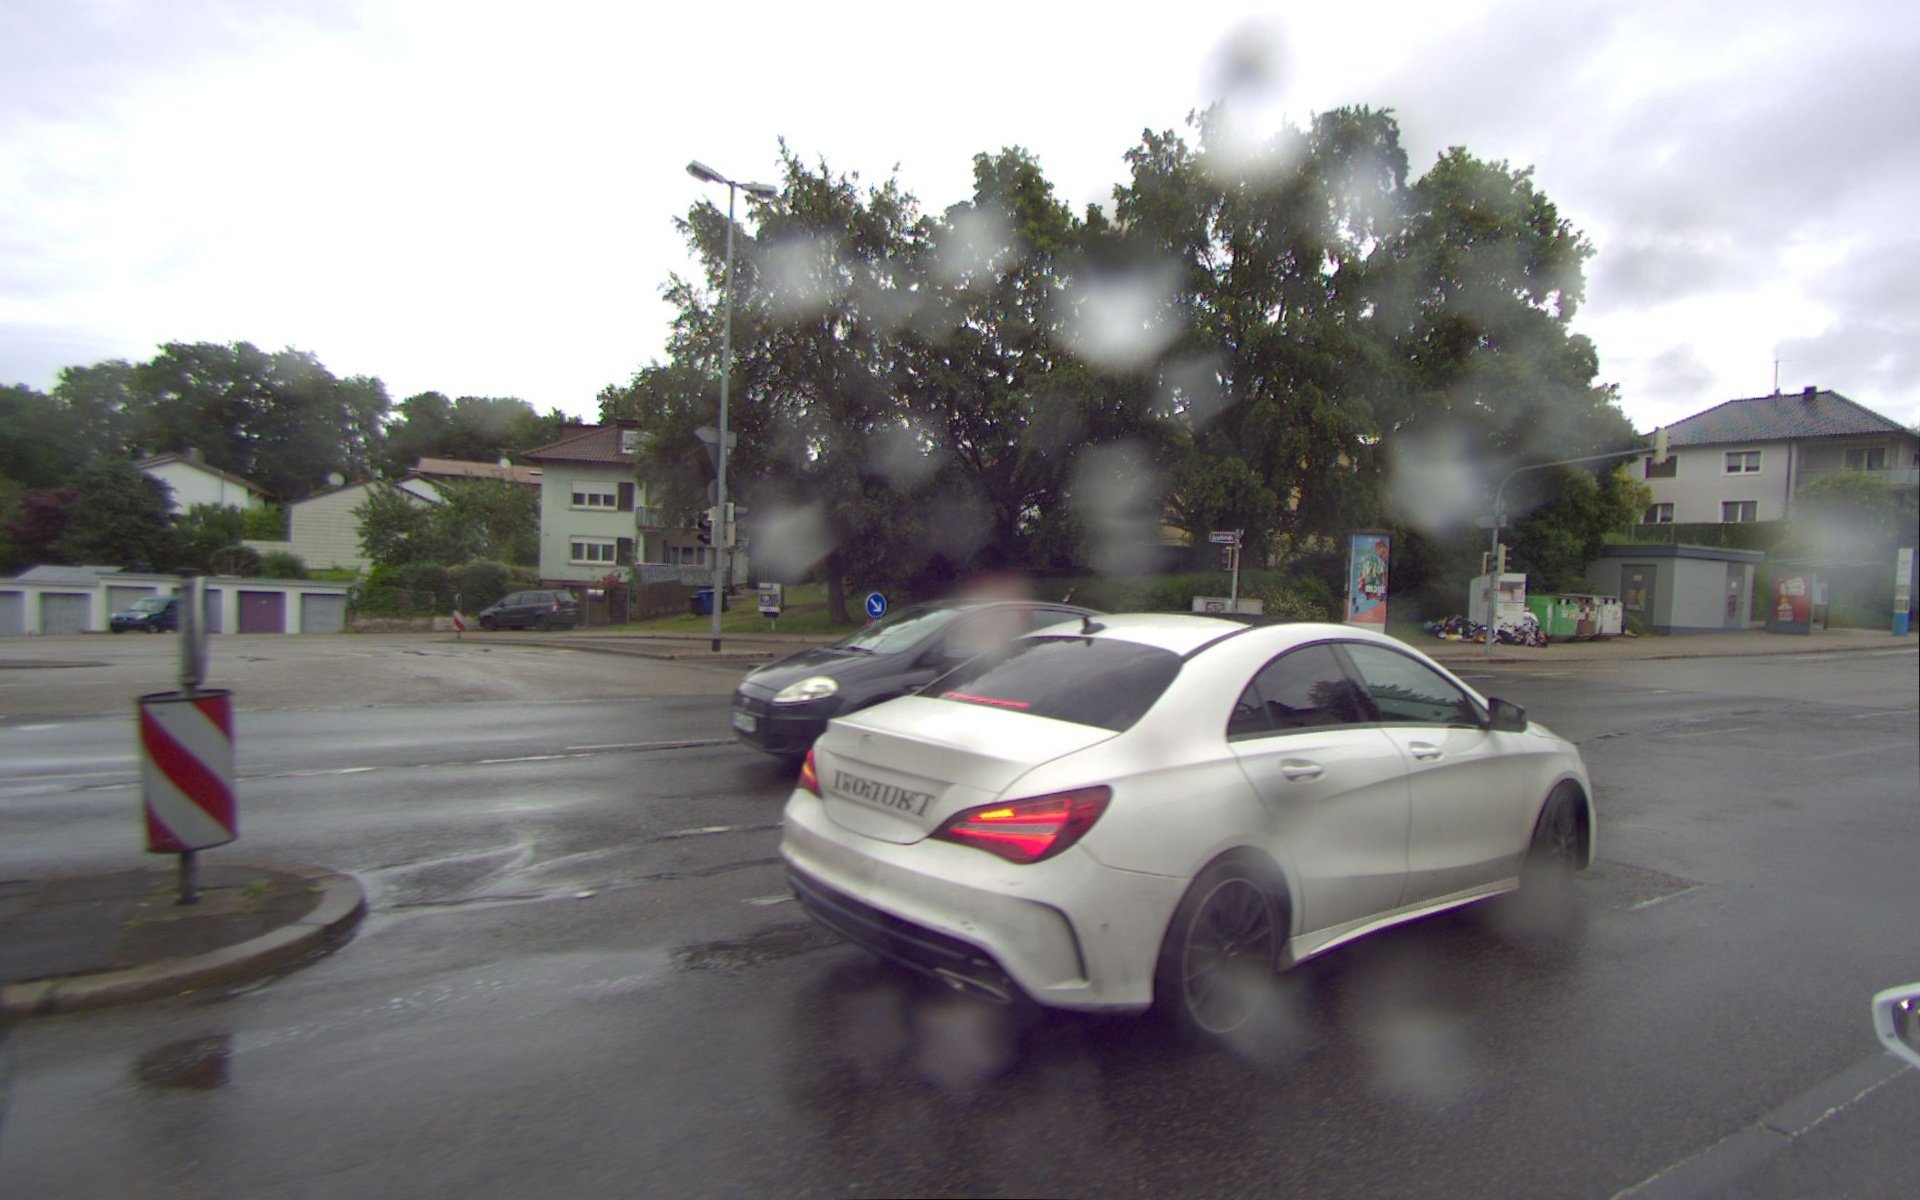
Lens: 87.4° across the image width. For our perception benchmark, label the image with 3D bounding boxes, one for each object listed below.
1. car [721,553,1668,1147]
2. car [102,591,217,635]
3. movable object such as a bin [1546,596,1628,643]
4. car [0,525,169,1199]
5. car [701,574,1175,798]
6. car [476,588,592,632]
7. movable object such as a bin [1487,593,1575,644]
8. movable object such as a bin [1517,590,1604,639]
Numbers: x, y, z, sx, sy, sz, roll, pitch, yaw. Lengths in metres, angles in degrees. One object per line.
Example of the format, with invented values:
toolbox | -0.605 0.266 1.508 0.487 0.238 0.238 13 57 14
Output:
car | 1.425 0.685 4.784 4.610 1.549 1.894 2 0 -38
car | -36.099 0.553 45.452 1.900 1.874 4.093 1 0 1
movable object such as a bin | 21.762 0.651 34.899 1.326 1.535 2.051 -1 1 -25
car | -3.415 0.574 0.886 4.012 1.507 1.825 2 0 -31
car | -0.083 0.659 9.209 3.968 1.595 1.977 2 0 -40
car | -17.554 0.399 41.464 4.112 1.726 1.939 1 0 17
movable object such as a bin | 19.043 0.585 33.536 1.560 1.590 2.051 -1 1 -25
movable object such as a bin | 20.450 0.476 34.246 1.560 1.590 2.051 -1 1 -25
